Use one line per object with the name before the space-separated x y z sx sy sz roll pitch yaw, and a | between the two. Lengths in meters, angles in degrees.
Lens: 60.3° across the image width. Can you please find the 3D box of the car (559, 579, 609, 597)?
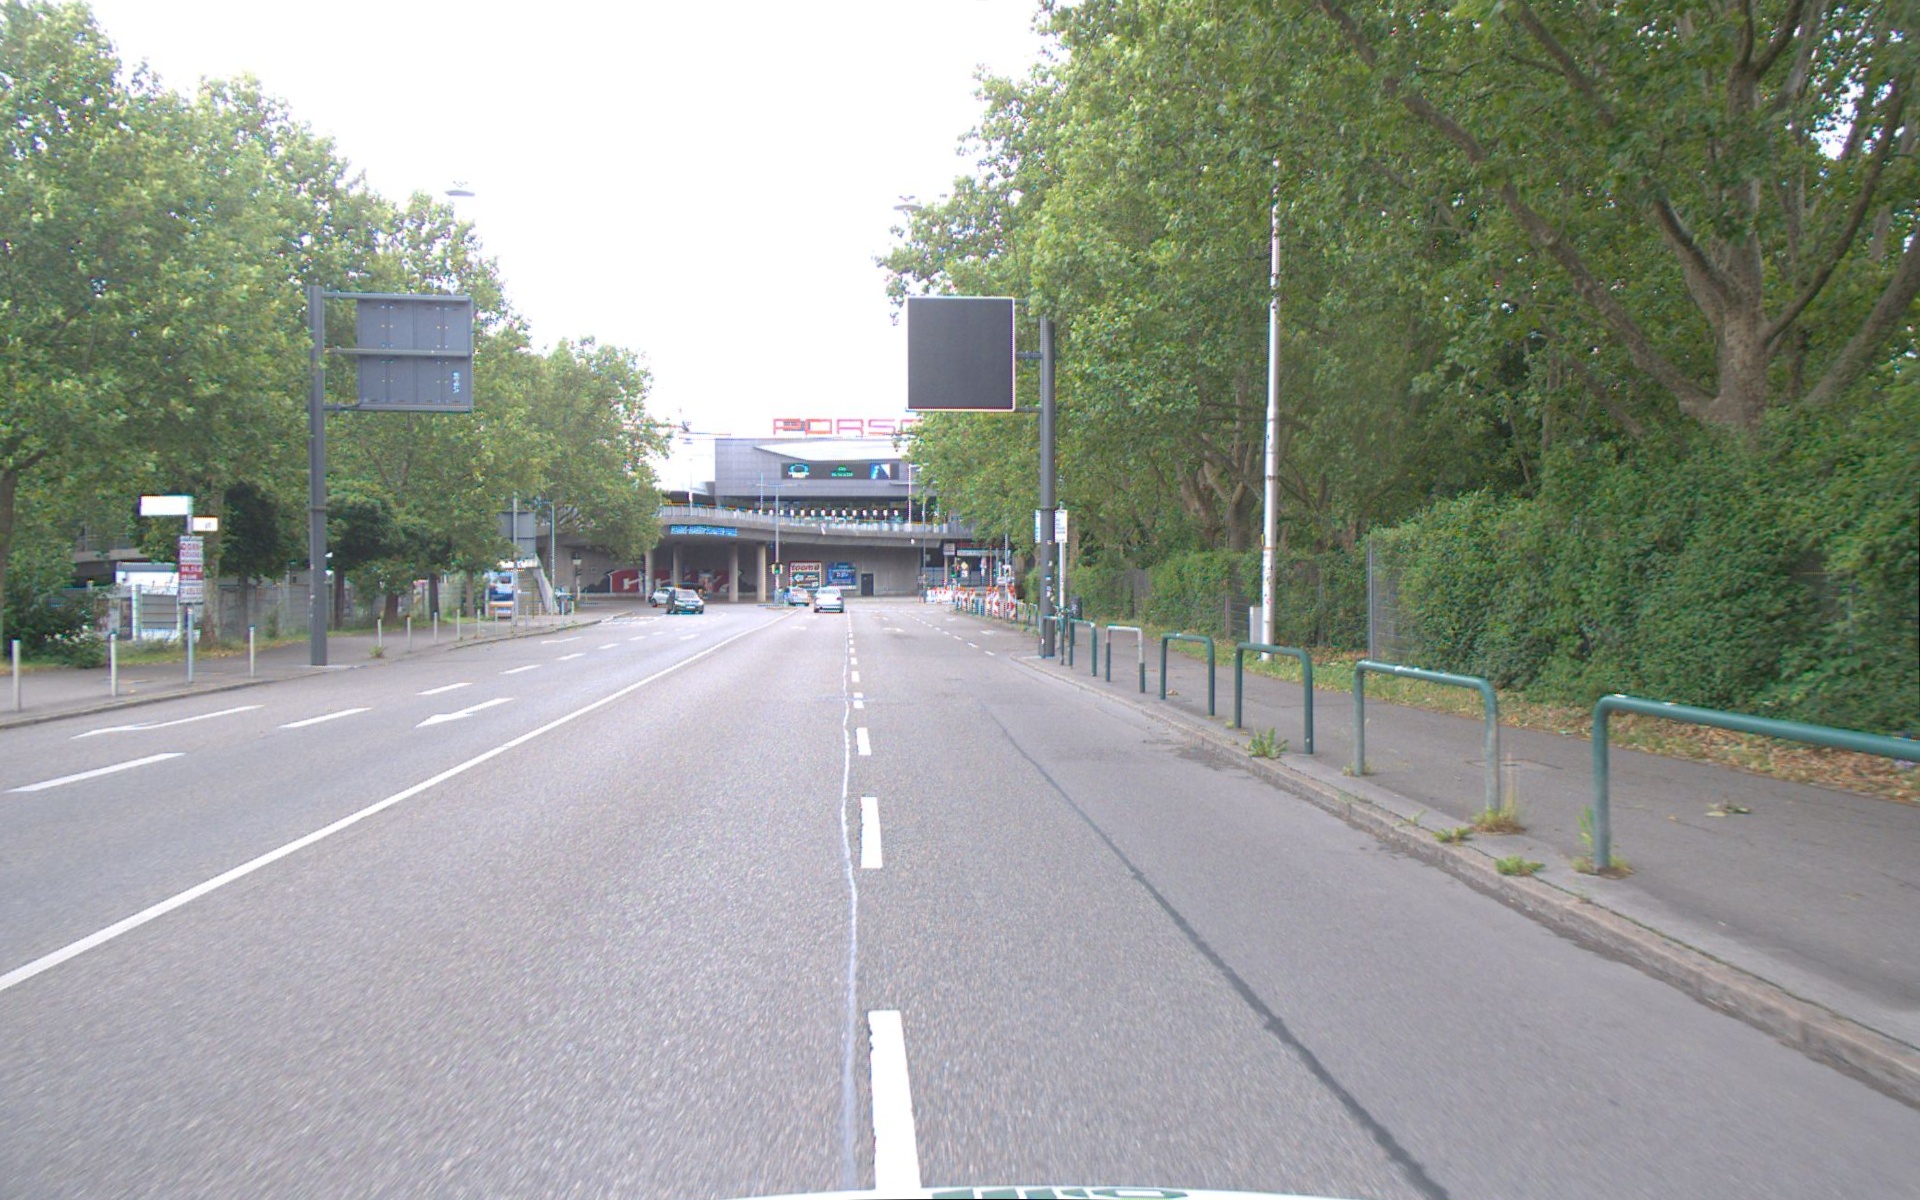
car | -30.508 -0.955 134.325 3.565 1.397 1.751 0 1 21

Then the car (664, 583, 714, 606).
car | -19.743 -0.393 120.318 3.815 1.606 1.615 0 1 44

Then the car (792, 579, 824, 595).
car | -11.588 -1.013 125.859 1.395 1.132 3.010 1 1 -28

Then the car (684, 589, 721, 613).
car | -15.349 0.061 98.513 1.630 1.294 3.567 1 1 -17

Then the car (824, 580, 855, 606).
car | -7.326 -0.426 100.907 1.742 1.485 3.821 1 1 -2
